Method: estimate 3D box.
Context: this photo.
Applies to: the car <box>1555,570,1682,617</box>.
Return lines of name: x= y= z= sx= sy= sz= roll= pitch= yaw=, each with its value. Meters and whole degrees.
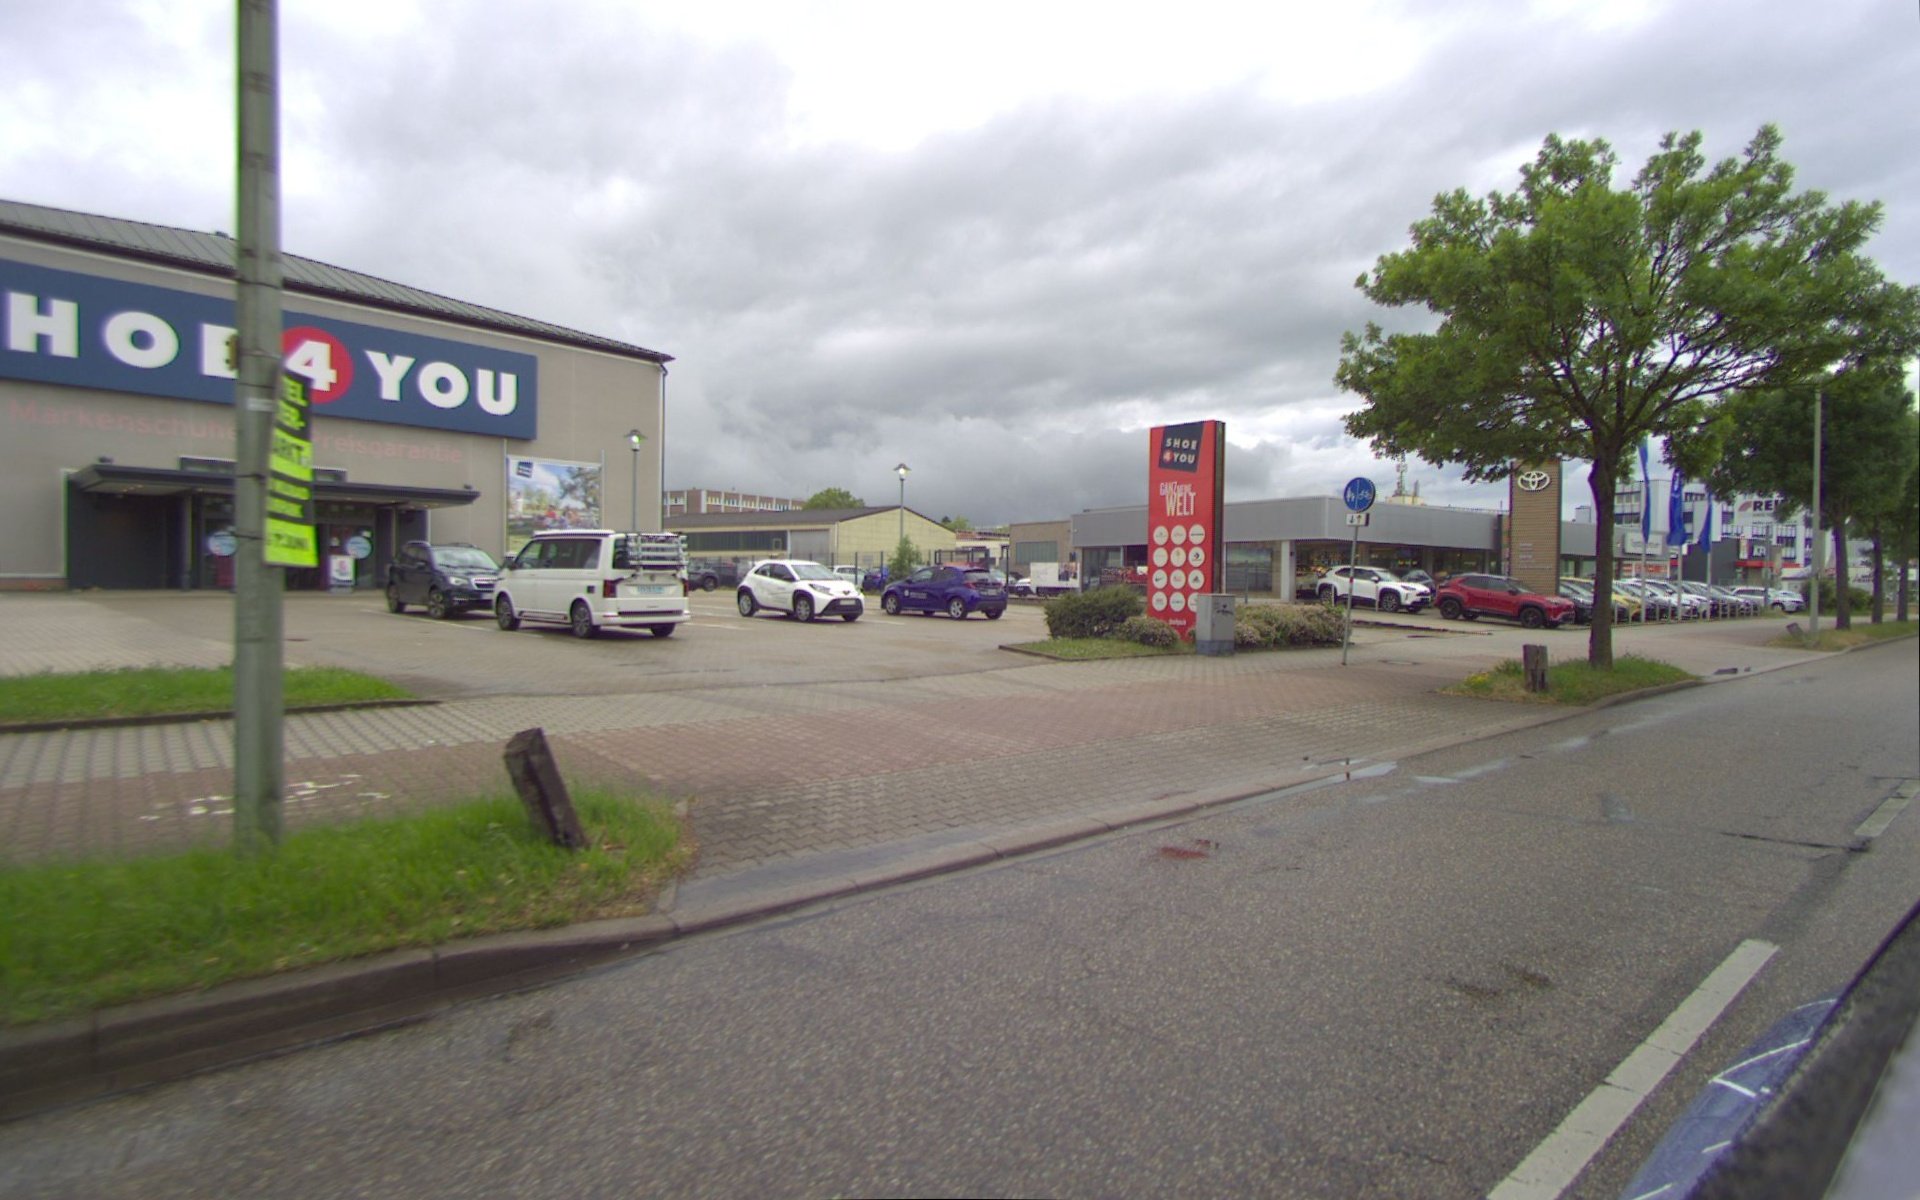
car: x=27.188 y=-0.285 z=41.901 sx=1.679 sy=1.565 sz=4.002 roll=0 pitch=5 yaw=-37

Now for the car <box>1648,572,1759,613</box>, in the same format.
car: x=36.923 y=-0.383 z=50.348 sx=1.778 sy=1.603 sz=4.003 roll=0 pitch=6 yaw=-37

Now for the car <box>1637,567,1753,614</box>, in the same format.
car: x=35.106 y=-0.493 z=48.436 sx=1.778 sy=1.807 sz=4.003 roll=0 pitch=6 yaw=-37

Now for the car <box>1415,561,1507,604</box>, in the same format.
car: x=21.029 y=-0.717 z=42.441 sx=4.048 sy=1.641 sz=1.880 roll=0 pitch=3 yaw=-39

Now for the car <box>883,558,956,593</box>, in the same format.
car: x=-2.065 y=-1.248 z=51.054 sx=1.756 sy=1.664 sz=3.658 roll=1 pitch=1 yaw=-41

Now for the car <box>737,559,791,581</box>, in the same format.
car: x=-12.947 y=-1.996 z=66.988 sx=3.277 sy=1.388 sz=1.336 roll=0 pitch=0 yaw=-40

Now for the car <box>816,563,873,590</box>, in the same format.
car: x=-6.712 y=-1.342 z=58.787 sx=3.094 sy=1.473 sz=1.336 roll=0 pitch=0 yaw=-40

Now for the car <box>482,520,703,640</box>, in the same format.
car: x=-7.200 y=-0.456 z=19.556 sx=4.818 sy=2.038 sz=1.961 roll=3 pitch=3 yaw=41

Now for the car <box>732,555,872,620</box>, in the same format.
car: x=-4.151 y=-0.366 z=26.290 sx=3.637 sy=1.533 sz=1.651 roll=3 pitch=2 yaw=42

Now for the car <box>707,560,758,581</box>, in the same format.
car: x=-16.169 y=-2.085 z=72.045 sx=3.277 sy=1.356 sz=1.336 roll=0 pitch=0 yaw=-40

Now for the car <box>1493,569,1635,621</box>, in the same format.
car: x=21.762 y=-0.222 z=36.589 sx=1.810 sy=1.667 sz=4.001 roll=1 pitch=2 yaw=-36

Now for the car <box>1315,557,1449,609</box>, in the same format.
car: x=15.318 y=-0.645 z=36.943 sx=1.845 sy=1.641 sz=4.125 roll=0 pitch=3 yaw=-35

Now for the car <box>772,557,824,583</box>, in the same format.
car: x=-13.414 y=-2.473 z=83.889 sx=4.062 sy=2.038 sz=1.774 roll=2 pitch=2 yaw=29

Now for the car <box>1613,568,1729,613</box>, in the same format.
car: x=33.186 y=-0.454 z=47.299 sx=1.780 sy=1.606 sz=3.999 roll=1 pitch=6 yaw=-40

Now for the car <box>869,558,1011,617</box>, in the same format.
car: x=-0.617 y=-0.394 z=28.896 sx=3.987 sy=1.533 sz=1.732 roll=3 pitch=2 yaw=43

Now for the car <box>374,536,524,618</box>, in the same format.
car: x=-12.036 y=-0.570 z=23.707 sx=4.242 sy=1.751 sz=1.716 roll=3 pitch=2 yaw=42

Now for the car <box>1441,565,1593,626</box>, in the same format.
car: x=17.998 y=-0.184 z=32.830 sx=1.763 sy=1.623 sz=3.853 roll=0 pitch=4 yaw=-39

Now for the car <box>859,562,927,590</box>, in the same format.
car: x=-3.534 y=-1.258 z=53.981 sx=3.429 sy=1.382 sz=1.464 roll=0 pitch=0 yaw=-40

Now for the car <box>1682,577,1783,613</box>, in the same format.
car: x=40.616 y=-0.284 z=53.277 sx=1.795 sy=1.478 sz=3.845 roll=0 pitch=6 yaw=-39

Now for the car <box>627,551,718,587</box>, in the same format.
car: x=-13.869 y=-1.488 z=48.978 sx=1.669 sy=1.687 sz=3.936 roll=3 pitch=2 yaw=44

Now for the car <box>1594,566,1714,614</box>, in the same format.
car: x=31.346 y=-0.477 z=45.785 sx=1.778 sy=1.807 sz=4.002 roll=1 pitch=5 yaw=-37

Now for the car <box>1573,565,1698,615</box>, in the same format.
car: x=28.937 y=-0.452 z=43.424 sx=1.778 sy=1.807 sz=4.001 roll=0 pitch=5 yaw=-37

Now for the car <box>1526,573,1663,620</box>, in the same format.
car: x=23.794 y=-0.169 z=38.054 sx=1.768 sy=1.557 sz=3.997 roll=0 pitch=2 yaw=-39

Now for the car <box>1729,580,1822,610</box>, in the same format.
car: x=51.099 y=-0.321 z=63.507 sx=1.943 sy=1.616 sz=4.079 roll=1 pitch=3 yaw=-19

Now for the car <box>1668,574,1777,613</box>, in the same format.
car: x=38.887 y=-0.366 z=51.674 sx=1.778 sy=1.561 sz=4.003 roll=0 pitch=6 yaw=-37

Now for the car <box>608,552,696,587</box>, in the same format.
car: x=-15.391 y=-1.526 z=50.707 sx=1.669 sy=1.687 sz=3.936 roll=3 pitch=2 yaw=44

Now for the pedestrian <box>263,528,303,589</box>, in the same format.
pedestrian: x=-21.505 y=-1.311 z=32.165 sx=0.912 sy=1.908 sz=0.772 roll=1 pitch=1 yaw=-21

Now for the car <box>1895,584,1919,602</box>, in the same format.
car: x=113.761 y=-0.727 z=119.272 sx=1.958 sy=2.038 sz=4.798 roll=1 pitch=2 yaw=-22

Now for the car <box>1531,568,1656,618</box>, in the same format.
car: x=25.147 y=-0.326 z=40.263 sx=1.638 sy=1.584 sz=3.848 roll=0 pitch=6 yaw=-42

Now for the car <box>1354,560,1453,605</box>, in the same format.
car: x=17.562 y=-0.691 z=40.015 sx=4.048 sy=1.641 sz=1.880 roll=0 pitch=3 yaw=-39
